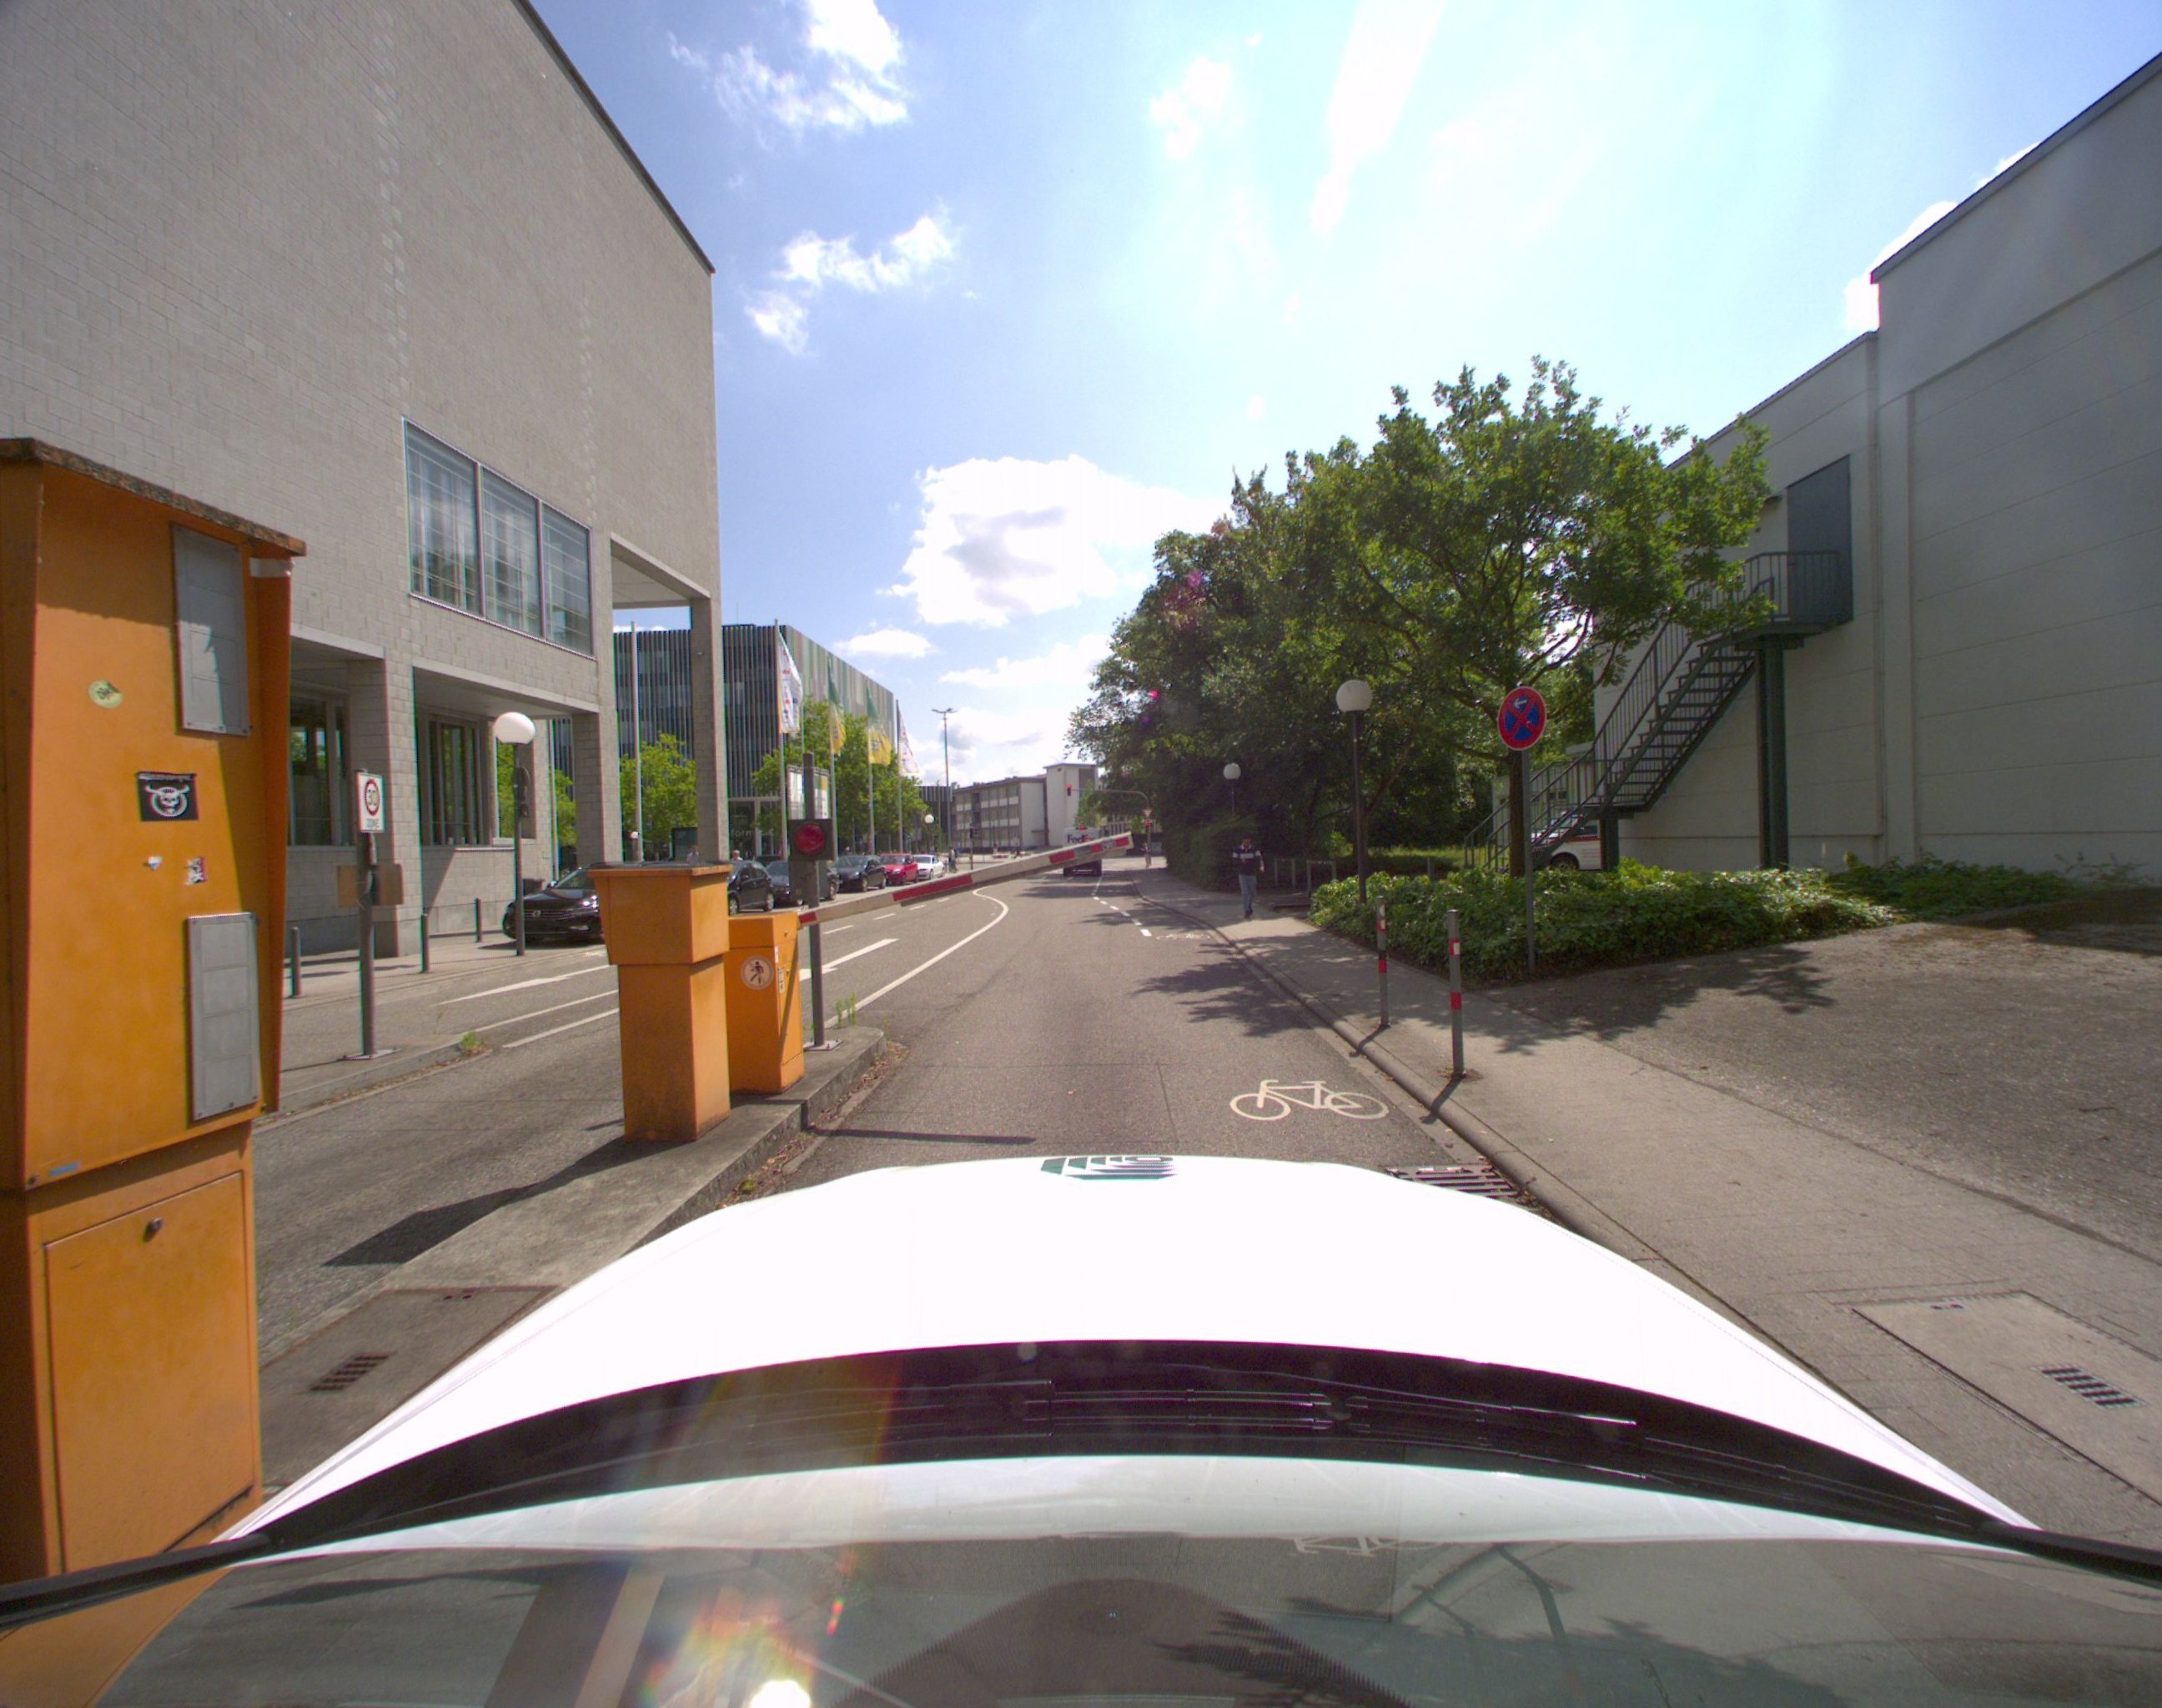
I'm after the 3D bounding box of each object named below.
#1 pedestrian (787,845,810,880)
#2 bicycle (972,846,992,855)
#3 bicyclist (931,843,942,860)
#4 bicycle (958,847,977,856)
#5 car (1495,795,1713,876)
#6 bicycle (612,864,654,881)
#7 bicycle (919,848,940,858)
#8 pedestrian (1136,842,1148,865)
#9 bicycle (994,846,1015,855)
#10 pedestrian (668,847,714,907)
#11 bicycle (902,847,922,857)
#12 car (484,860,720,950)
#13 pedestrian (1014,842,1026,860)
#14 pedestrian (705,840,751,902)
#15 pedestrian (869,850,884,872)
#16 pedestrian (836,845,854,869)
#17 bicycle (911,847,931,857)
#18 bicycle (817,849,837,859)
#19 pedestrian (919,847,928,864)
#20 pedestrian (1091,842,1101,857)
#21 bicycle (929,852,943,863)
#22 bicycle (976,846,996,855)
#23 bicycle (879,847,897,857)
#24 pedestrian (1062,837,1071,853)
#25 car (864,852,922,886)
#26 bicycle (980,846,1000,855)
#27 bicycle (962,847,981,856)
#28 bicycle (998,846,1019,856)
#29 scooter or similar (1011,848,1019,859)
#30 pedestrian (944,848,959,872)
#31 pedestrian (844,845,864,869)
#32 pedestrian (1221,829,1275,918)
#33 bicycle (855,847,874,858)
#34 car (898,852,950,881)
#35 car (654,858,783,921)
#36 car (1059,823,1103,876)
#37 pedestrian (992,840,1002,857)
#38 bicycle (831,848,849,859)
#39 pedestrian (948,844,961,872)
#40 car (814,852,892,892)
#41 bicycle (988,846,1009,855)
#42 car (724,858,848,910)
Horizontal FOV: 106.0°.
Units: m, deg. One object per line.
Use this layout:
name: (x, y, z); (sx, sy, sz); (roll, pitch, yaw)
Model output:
pedestrian: (-14.983, 0.437, 43.208); (0.716, 1.850, 1.090); (0, 1, 6)
bicycle: (-15.642, -0.487, 128.640); (2.978, 1.363, 1.105); (-1, 0, -36)
bicyclist: (-15.491, -0.267, 87.154); (0.784, 1.817, 1.002); (-2, 1, 11)
bicycle: (-18.514, -0.462, 133.131); (2.978, 1.363, 1.105); (-1, 0, -36)
car: (14.720, -0.506, 23.139); (4.805, 2.013, 2.063); (-2, 0, 2)
bicycle: (-31.854, 1.311, 57.932); (2.600, 1.113, 0.665); (-1, 0, 0)
bicycle: (-19.615, -0.082, 105.243); (1.208, 1.237, 2.915); (-1, 1, -43)
pedestrian: (4.094, -0.035, 54.744); (0.729, 1.575, 0.775); (-1, 0, -3)
bicycle: (-11.599, -0.514, 122.966); (2.978, 1.363, 1.105); (-1, 0, -36)
pedestrian: (-13.494, 0.766, 28.227); (0.981, 2.013, 1.164); (-2, 0, -2)
bicycle: (-21.431, -0.243, 103.231); (1.208, 1.237, 2.915); (-1, 1, -43)
car: (-9.378, 0.905, 16.523); (1.852, 1.467, 4.721); (0, 1, 2)
pedestrian: (-6.506, -0.349, 86.699); (1.077, 1.870, 0.832); (-2, 1, 0)
pedestrian: (-11.855, 0.545, 27.356); (0.981, 2.013, 1.164); (-2, 0, -2)
pedestrian: (-14.971, 0.525, 59.649); (0.767, 1.597, 0.799); (-2, 1, 4)
pedestrian: (-18.595, 0.240, 64.112); (0.845, 1.876, 1.012); (-2, 1, 25)
bicycle: (-20.467, -0.309, 104.118); (1.208, 1.237, 2.915); (-1, 1, -43)
bicycle: (-30.065, 0.000, 96.388); (1.384, 1.237, 2.919); (-1, 0, -35)
pedestrian: (-16.536, 0.145, 85.470); (0.751, 1.678, 0.755); (-2, 1, -1)
pedestrian: (1.560, -0.465, 86.814); (0.827, 1.523, 0.810); (-2, 0, -17)
bicycle: (-15.482, 0.380, 87.151); (0.765, 1.122, 2.033); (-2, 1, 12)
bicycle: (-14.918, -0.521, 127.564); (2.978, 1.363, 1.105); (-1, 0, -36)
bicycle: (-24.012, -0.212, 101.250); (1.206, 1.237, 2.920); (-1, 0, -34)
pedestrian: (-1.766, -1.028, 97.915); (0.867, 1.889, 0.908); (-2, 0, -17)
car: (-8.863, 0.669, 38.721); (1.670, 1.467, 3.914); (0, 1, 3)
bicycle: (-14.173, -0.529, 126.485); (2.978, 1.363, 1.105); (-1, 0, -36)
bicycle: (-17.677, -0.466, 131.622); (2.978, 1.363, 1.105); (-1, 0, -36)
bicycle: (-10.902, -0.412, 121.845); (2.978, 1.363, 1.105); (-1, 0, -36)
scooter or similar: (-7.275, -0.082, 89.380); (0.716, 1.178, 2.717); (-2, 1, -8)
pedestrian: (-9.037, 0.430, 56.991); (0.839, 1.651, 0.747); (-2, 1, 4)
pedestrian: (-17.657, 0.207, 63.341); (0.853, 1.818, 1.102); (-2, 1, 25)
pedestrian: (3.292, 0.355, 16.155); (0.737, 1.674, 1.256); (-2, 1, -1)
bicycle: (-26.321, -0.170, 98.948); (1.206, 1.237, 2.919); (-1, 0, -35)
car: (-8.344, 0.643, 43.777); (1.670, 1.395, 4.666); (0, 1, 3)
car: (-9.404, 0.862, 21.453); (1.632, 1.467, 3.709); (0, 1, 2)
car: (0.071, -0.270, 44.012); (2.087, 2.566, 5.605); (-2, 1, 2)
pedestrian: (-9.871, -0.625, 95.518); (0.698, 1.855, 1.403); (-2, 2, 11)
bicycle: (-28.798, -0.051, 97.160); (1.206, 1.237, 2.920); (-1, 0, -35)
pedestrian: (-8.673, 0.290, 55.806); (0.716, 1.859, 0.771); (-2, 1, 4)
car: (-9.207, 0.700, 33.227); (1.740, 1.467, 4.201); (0, 1, 4)
bicycle: (-12.592, -0.505, 124.259); (2.978, 1.363, 1.262); (-1, 0, -36)
car: (-9.244, 0.880, 26.028); (1.851, 1.378, 5.022); (0, 1, 4)
